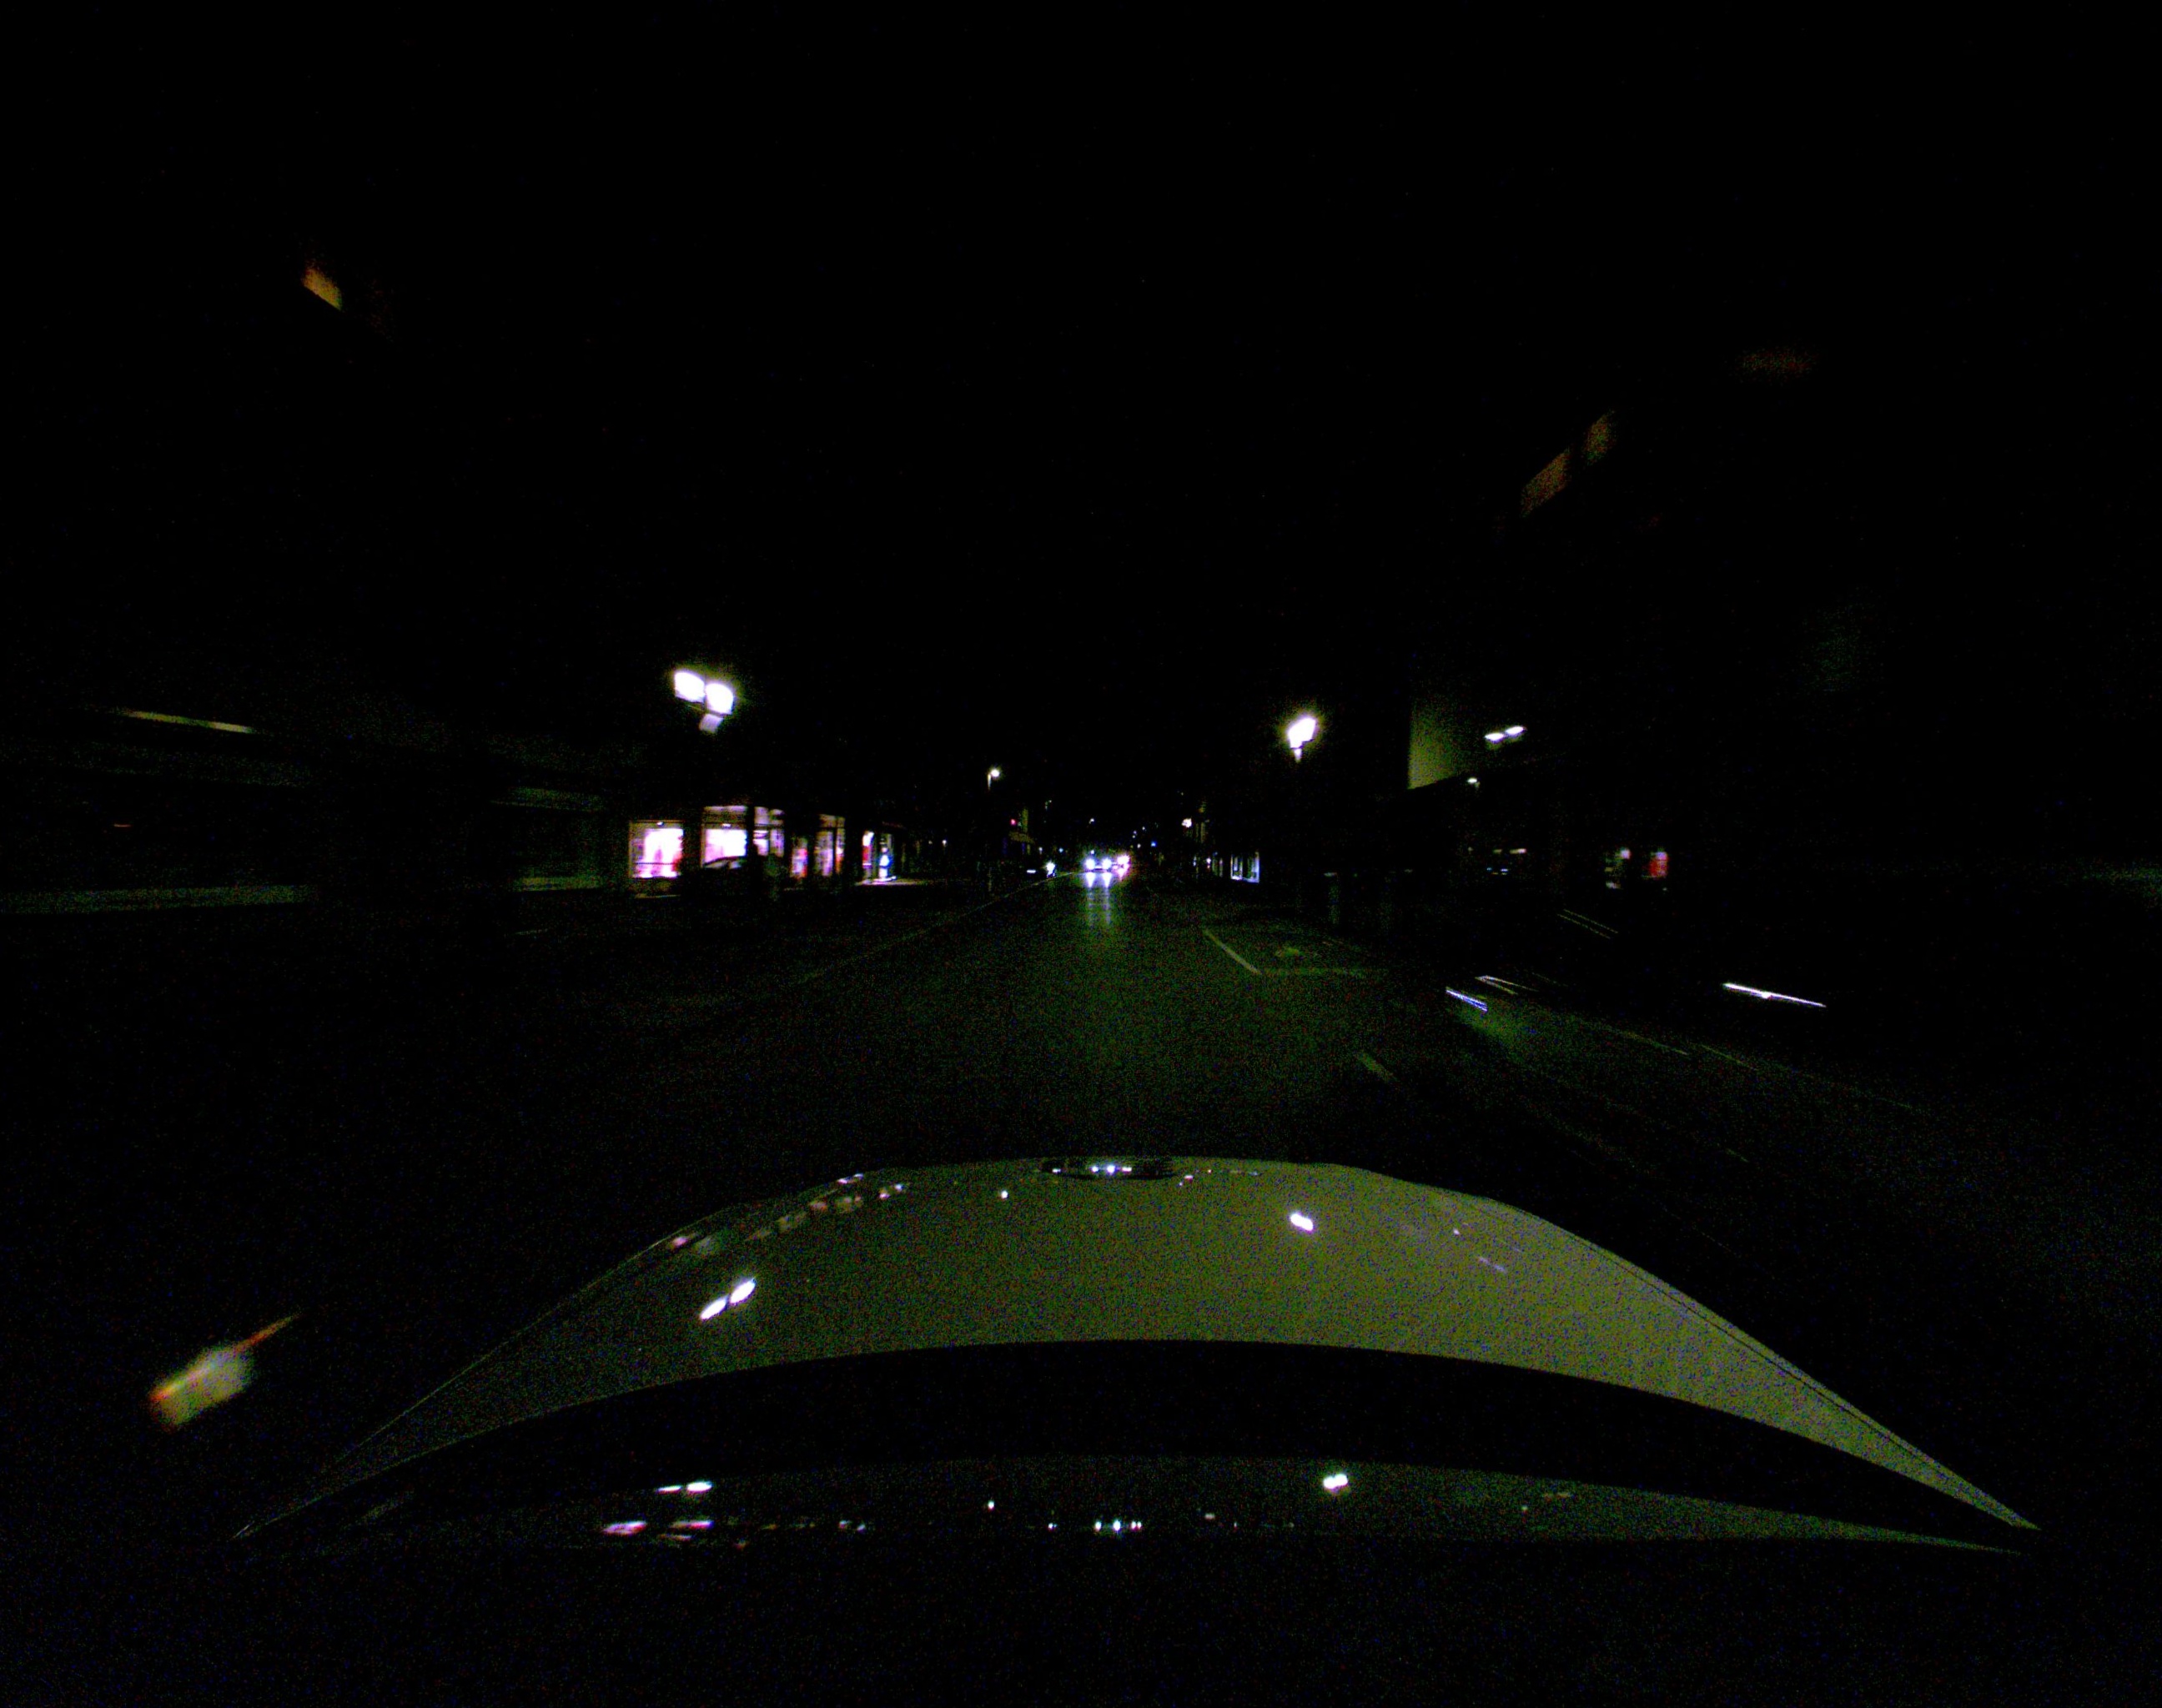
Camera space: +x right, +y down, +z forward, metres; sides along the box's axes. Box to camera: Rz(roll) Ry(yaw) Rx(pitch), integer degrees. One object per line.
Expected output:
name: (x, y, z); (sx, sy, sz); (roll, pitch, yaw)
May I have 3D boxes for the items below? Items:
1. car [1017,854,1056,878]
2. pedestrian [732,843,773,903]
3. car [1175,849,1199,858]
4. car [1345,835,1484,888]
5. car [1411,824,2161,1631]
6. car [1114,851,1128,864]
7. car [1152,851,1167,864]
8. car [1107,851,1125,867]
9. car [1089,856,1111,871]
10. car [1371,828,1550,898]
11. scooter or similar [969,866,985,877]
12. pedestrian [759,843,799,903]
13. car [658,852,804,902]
car: (-2.783, 0.734, 51.571); (1.906, 1.370, 4.462); (-1, 0, 4)
pedestrian: (-9.253, 0.522, 22.983); (0.766, 1.656, 0.818); (0, 1, 3)
car: (17.898, -0.074, 137.599); (3.964, 1.416, 2.004); (-1, -2, 8)
car: (11.275, 0.271, 27.723); (3.975, 1.476, 1.751); (-4, -1, -1)
car: (2.807, 0.681, 3.070); (1.669, 1.460, 3.676); (0, 0, 1)
car: (5.539, 0.473, 111.597); (1.767, 1.652, 4.370); (-1, 0, 5)
car: (10.107, 0.451, 104.728); (1.767, 1.652, 4.368); (-1, 0, 4)
car: (3.685, 0.488, 85.965); (1.767, 1.652, 4.369); (-1, 0, 4)
car: (1.677, 0.786, 70.314); (1.715, 1.247, 4.241); (0, 0, 4)
car: (10.461, 0.236, 22.655); (4.065, 1.581, 1.816); (-4, 1, -1)
scooter or similar: (-7.622, 1.251, 59.629); (1.091, 0.781, 0.524); (0, 0, -1)
pedestrian: (-8.482, 0.519, 22.870); (0.766, 1.656, 0.782); (0, 1, 3)
car: (-11.948, 0.771, 27.965); (4.147, 1.438, 1.844); (-3, -1, 5)
